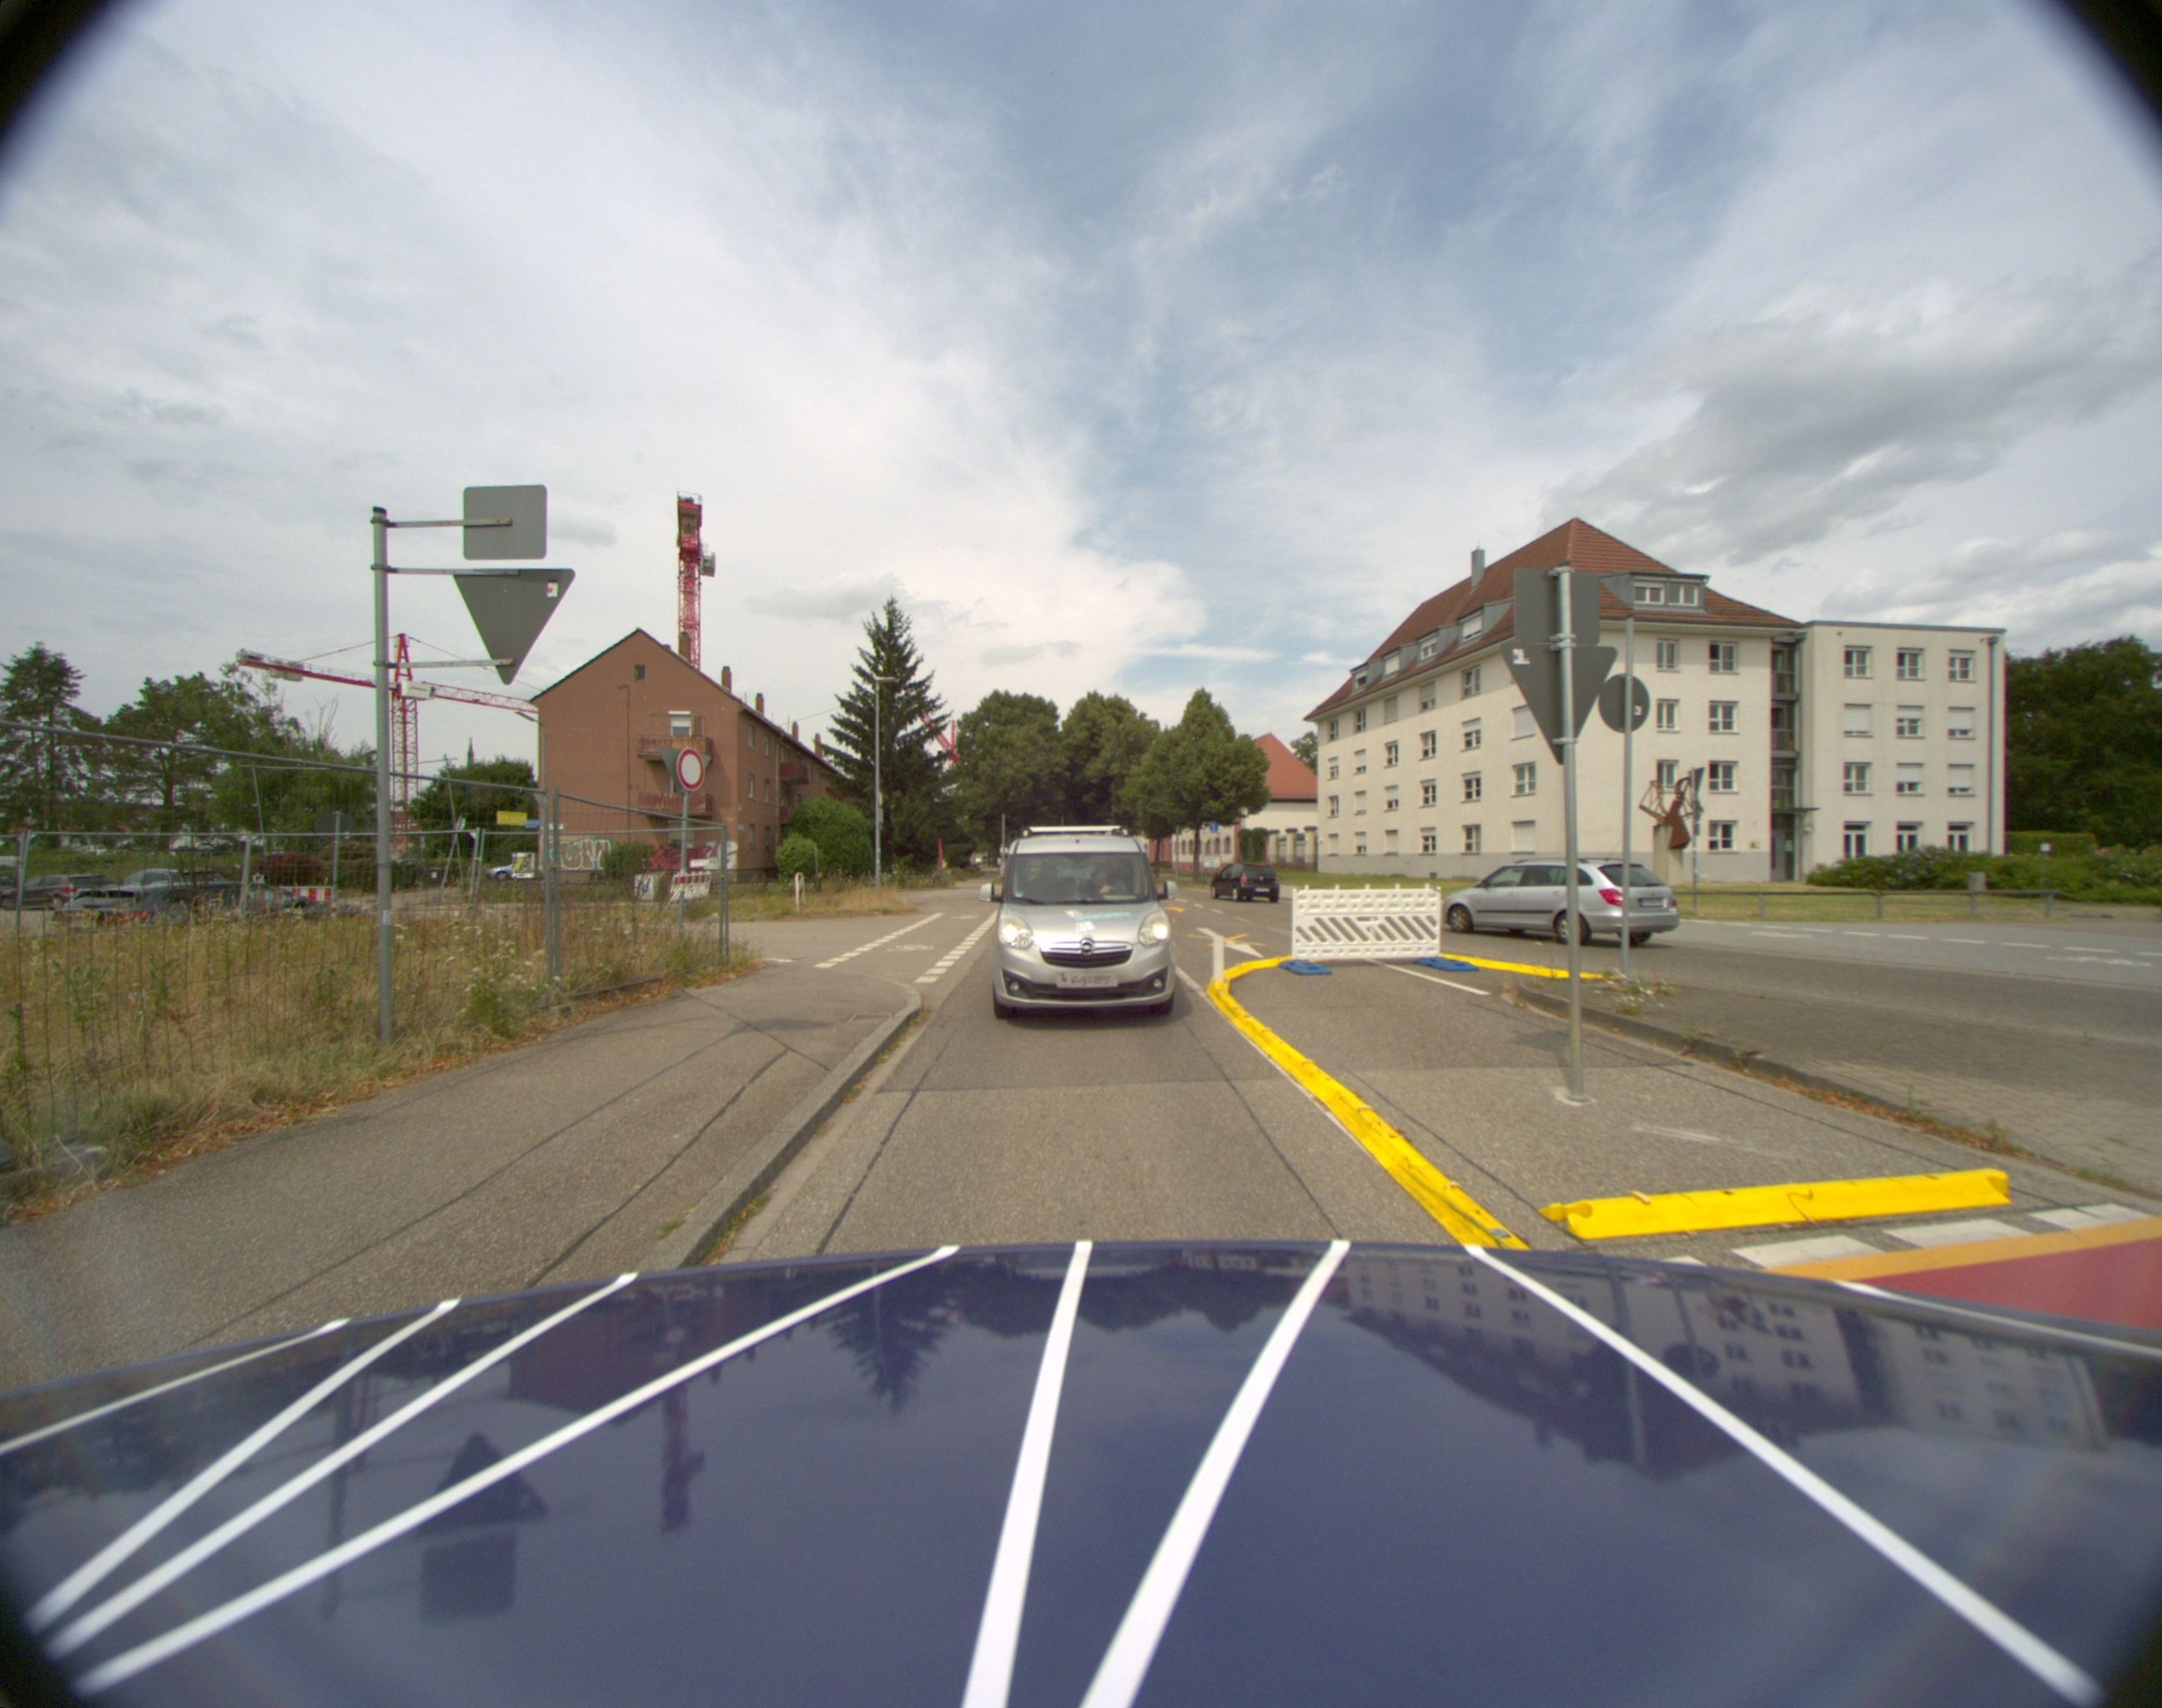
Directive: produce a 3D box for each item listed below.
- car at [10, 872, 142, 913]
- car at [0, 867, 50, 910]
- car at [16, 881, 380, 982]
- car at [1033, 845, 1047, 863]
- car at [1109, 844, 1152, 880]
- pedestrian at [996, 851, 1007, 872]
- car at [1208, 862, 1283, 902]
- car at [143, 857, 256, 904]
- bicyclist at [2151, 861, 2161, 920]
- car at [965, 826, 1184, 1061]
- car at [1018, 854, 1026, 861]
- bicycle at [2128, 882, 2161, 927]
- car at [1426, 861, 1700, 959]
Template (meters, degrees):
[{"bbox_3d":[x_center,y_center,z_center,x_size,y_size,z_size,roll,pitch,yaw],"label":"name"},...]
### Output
[{"bbox_3d":[-41.863,1.559,31.673,4.006,1.593,1.804,0,0,13],"label":"car"},{"bbox_3d":[-46.904,1.461,32.456,4.007,1.739,1.859,0,0,12],"label":"car"},{"bbox_3d":[-16.287,1.338,14.446,1.765,1.465,4.260,0,0,5],"label":"car"},{"bbox_3d":[-6.461,0.017,119.846,2.070,2.670,5.968,-1,0,-4],"label":"car"},{"bbox_3d":[3.222,0.498,50.295,2.000,2.259,5.157,0,0,-6],"label":"car"},{"bbox_3d":[-7.684,0.717,73.421,0.857,2.002,0.730,-1,0,-20],"label":"pedestrian"},{"bbox_3d":[6.185,1.037,28.969,1.632,1.406,3.720,1,-1,-7],"label":"car"},{"bbox_3d":[-36.442,1.063,31.418,3.990,1.838,1.805,0,0,22],"label":"car"},{"bbox_3d":[26.302,0.882,18.094,0.803,1.415,0.602,0,0,-2],"label":"bicyclist"},{"bbox_3d":[-0.194,0.733,8.635,1.810,1.936,4.582,-1,0,-4],"label":"car"},{"bbox_3d":[-12.189,0.742,157.598,1.677,1.402,3.918,-1,0,-5],"label":"car"},{"bbox_3d":[26.245,1.197,18.097,1.828,1.040,0.602,0,0,-2],"label":"bicycle"},{"bbox_3d":[8.649,0.891,14.126,1.630,1.510,4.211,0,0,-19],"label":"car"}]
